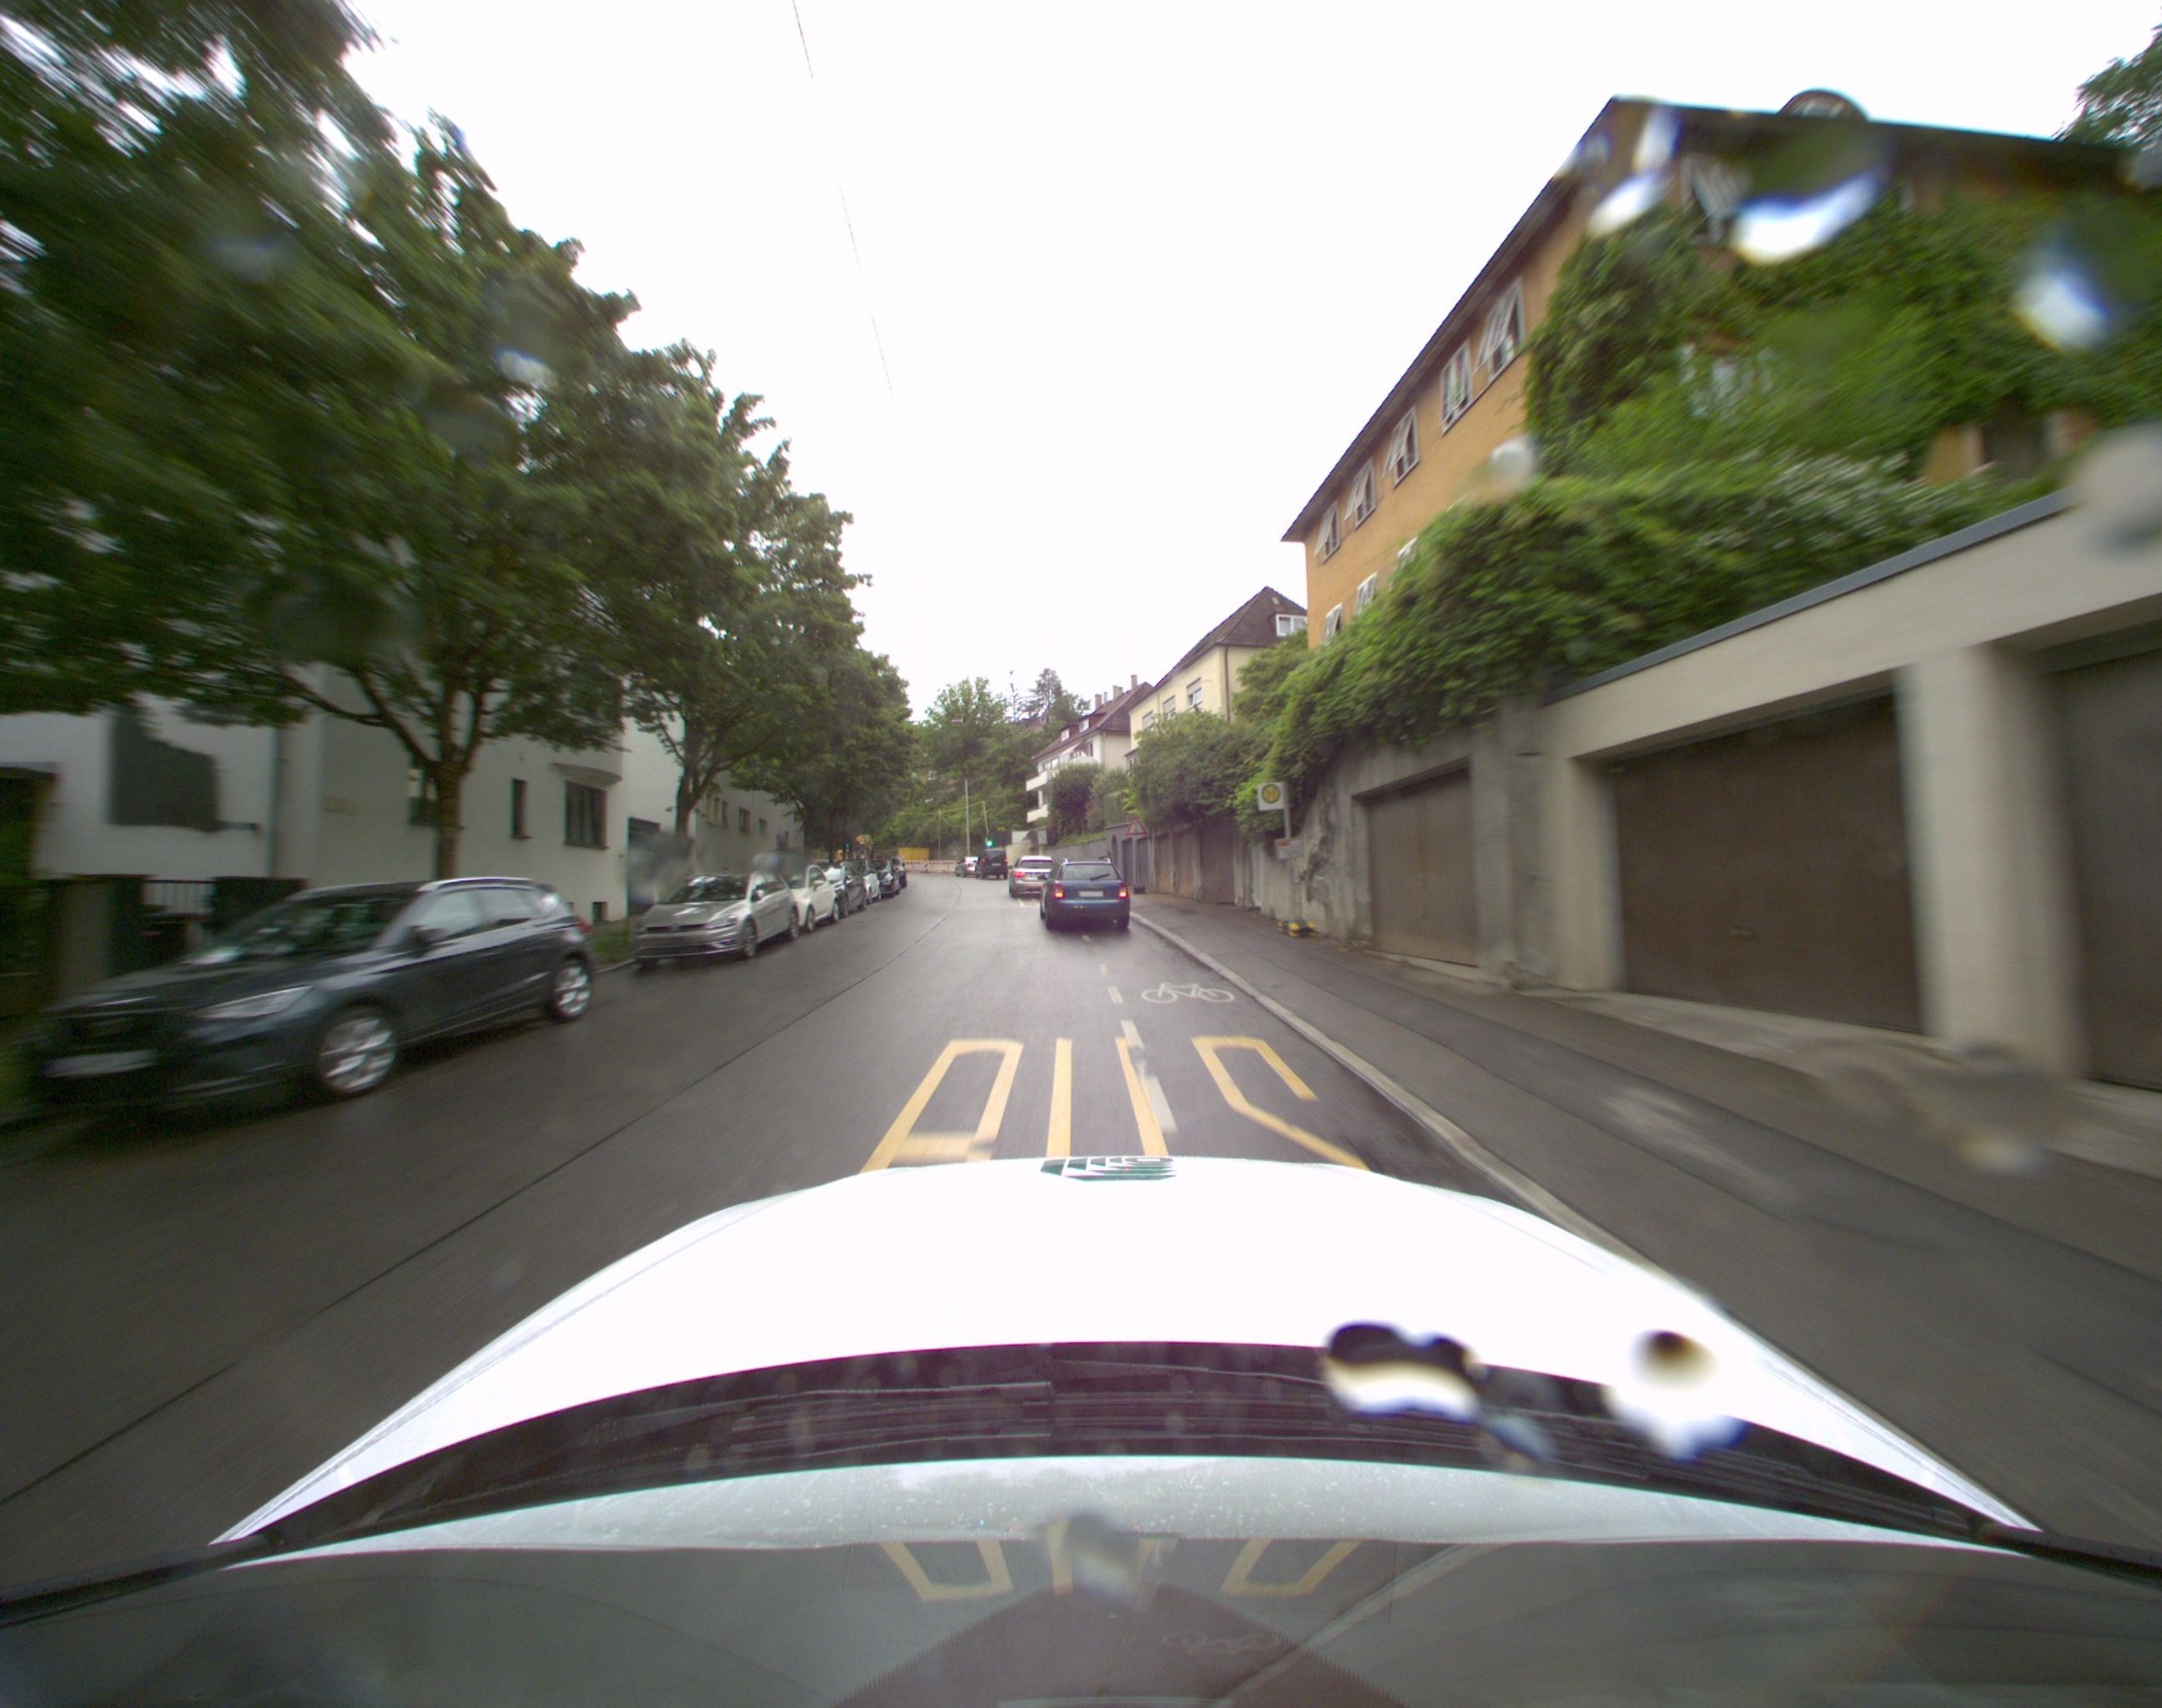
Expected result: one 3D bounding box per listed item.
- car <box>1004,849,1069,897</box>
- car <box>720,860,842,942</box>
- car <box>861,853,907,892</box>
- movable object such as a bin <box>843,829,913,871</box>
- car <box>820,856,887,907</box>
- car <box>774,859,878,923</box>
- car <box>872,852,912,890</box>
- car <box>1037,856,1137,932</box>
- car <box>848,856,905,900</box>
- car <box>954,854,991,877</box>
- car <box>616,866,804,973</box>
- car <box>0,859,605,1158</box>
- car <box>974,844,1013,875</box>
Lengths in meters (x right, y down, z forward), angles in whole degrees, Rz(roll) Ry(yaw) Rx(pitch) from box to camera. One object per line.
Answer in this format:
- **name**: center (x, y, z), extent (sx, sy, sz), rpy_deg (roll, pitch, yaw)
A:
- **car**: center (-1.704, 0.632, 29.853), extent (1.926, 1.618, 4.307), rpy_deg (-1, 0, -9)
- **car**: center (-6.627, 0.969, 18.370), extent (1.571, 1.488, 3.464), rpy_deg (-5, 1, -4)
- **car**: center (-8.838, 0.834, 36.822), extent (1.632, 1.565, 3.836), rpy_deg (-3, 0, -9)
- **movable object such as a bin**: center (-20.567, -0.410, 82.220), extent (7.232, 4.014, 2.847), rpy_deg (0, 0, 37)
- **car**: center (-7.867, 0.919, 28.380), extent (1.553, 1.510, 3.376), rpy_deg (-5, 0, -6)
- **car**: center (-7.009, 0.952, 22.844), extent (1.661, 1.488, 4.468), rpy_deg (-5, 0, -4)
- **car**: center (-9.756, 0.818, 42.253), extent (1.684, 1.608, 4.557), rpy_deg (-9, 2, -12)
- **car**: center (0.019, 0.782, 18.012), extent (1.783, 1.442, 3.955), rpy_deg (-1, 0, -6)
- **car**: center (-8.006, 0.913, 32.185), extent (1.554, 1.488, 4.087), rpy_deg (-5, 0, -7)
- **car**: center (-7.608, 0.798, 56.820), extent (1.726, 1.486, 4.049), rpy_deg (-2, 0, -20)
- **car**: center (-6.308, 1.027, 14.369), extent (1.615, 1.470, 3.966), rpy_deg (-5, 0, -4)
- **car**: center (-6.000, 0.949, 6.889), extent (1.614, 1.658, 3.920), rpy_deg (-6, 0, -2)
- **car**: center (-5.536, 0.315, 51.290), extent (1.995, 1.793, 3.983), rpy_deg (-2, 0, -12)
